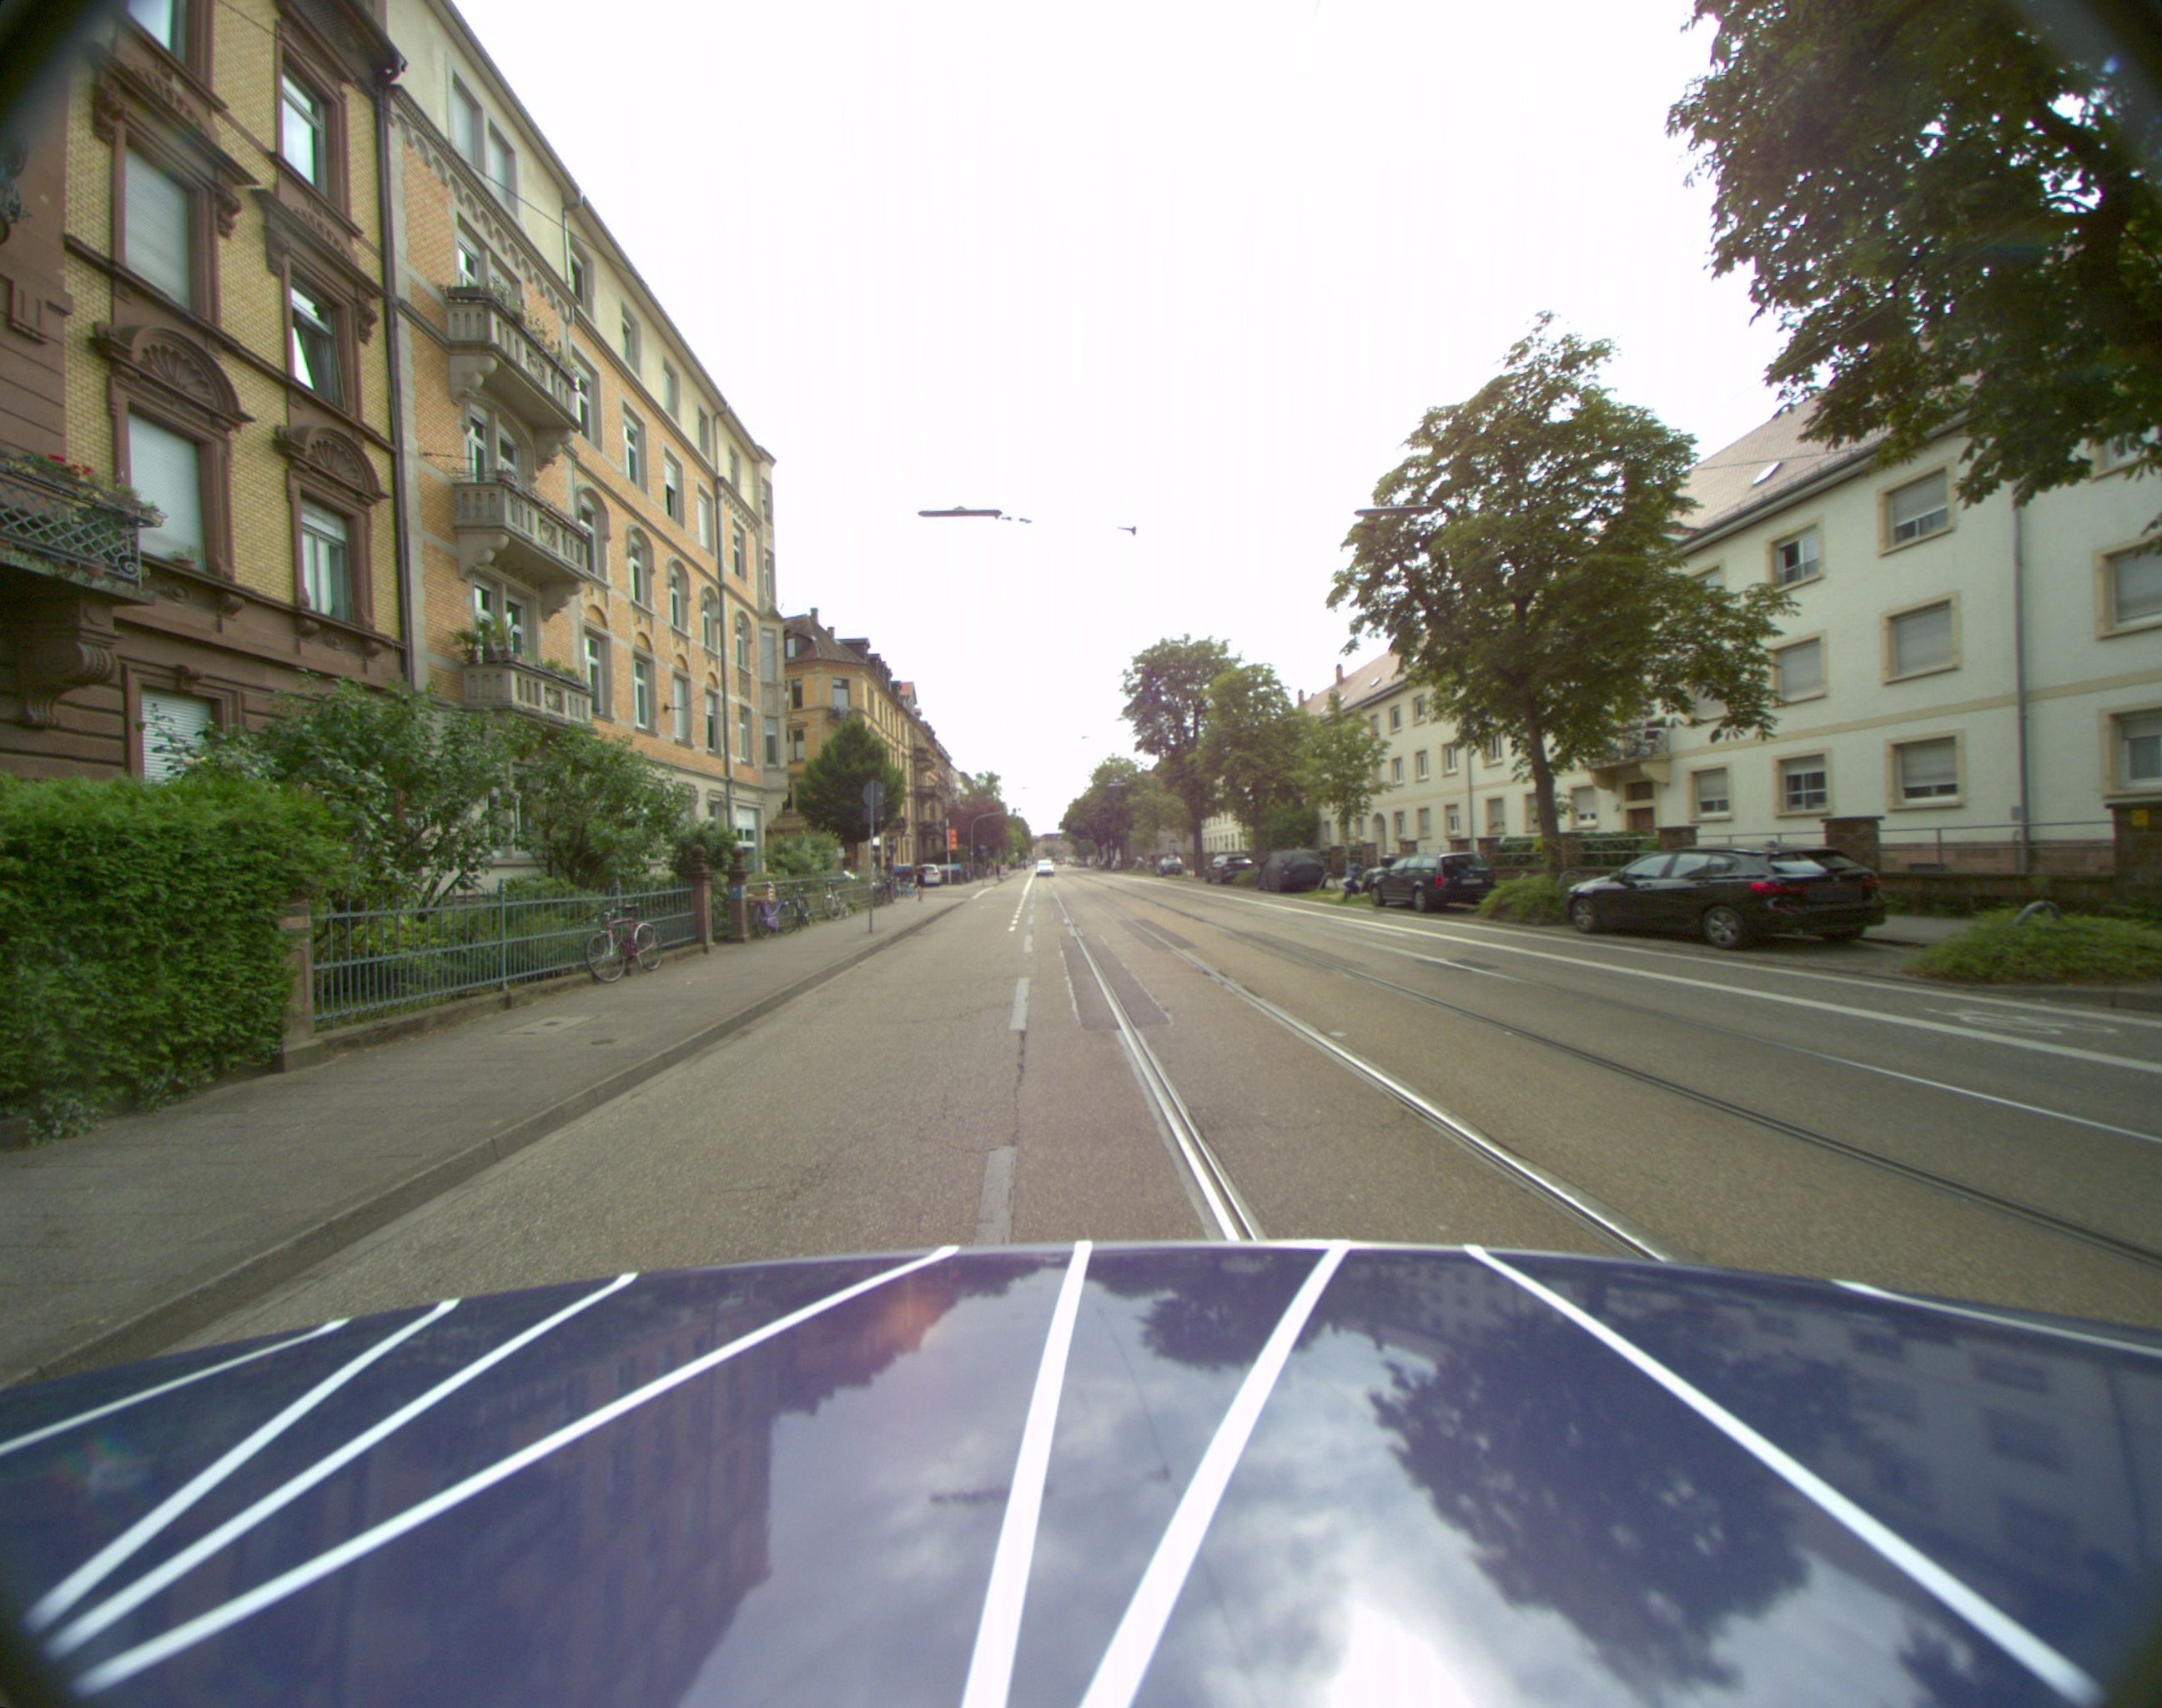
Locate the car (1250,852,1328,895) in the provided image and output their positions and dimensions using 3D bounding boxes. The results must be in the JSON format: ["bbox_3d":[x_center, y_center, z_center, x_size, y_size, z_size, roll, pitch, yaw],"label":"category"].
[{"bbox_3d":[8.443,0.753,31.232,1.790,1.602,4.299,-2,0,-3],"label":"car"}]

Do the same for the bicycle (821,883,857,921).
[{"bbox_3d":[-6.889,1.343,21.717,0.580,0.977,1.671,2,0,-4],"label":"bicycle"}]

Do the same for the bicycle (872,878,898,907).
[{"bbox_3d":[-7.104,1.381,27.603,0.580,0.977,1.671,2,0,-4],"label":"bicycle"}]

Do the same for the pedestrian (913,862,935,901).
[{"bbox_3d":[-6.606,1.140,31.961,0.732,1.614,0.835,-2,0,-3],"label":"pedestrian"}]

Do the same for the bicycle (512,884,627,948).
[{"bbox_3d":[-9.637,1.162,14.353,1.671,1.105,0.611,-2,0,-5],"label":"bicycle"}]

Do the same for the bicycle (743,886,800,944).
[{"bbox_3d":[-6.534,1.263,16.120,0.580,1.105,1.671,2,0,-4],"label":"bicycle"}]

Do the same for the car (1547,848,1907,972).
[{"bbox_3d":[9.542,0.719,11.803,1.701,1.415,4.299,-5,0,-3],"label":"car"}]

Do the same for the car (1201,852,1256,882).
[{"bbox_3d":[7.822,0.662,40.590,1.701,1.462,4.298,-2,0,-5],"label":"car"}]

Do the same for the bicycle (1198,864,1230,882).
[{"bbox_3d":[7.900,1.110,45.191,1.672,0.965,0.672,-2,0,-12],"label":"bicycle"}]

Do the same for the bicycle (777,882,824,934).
[{"bbox_3d":[-6.646,1.253,18.090,0.580,1.105,1.671,2,0,-4],"label":"bicycle"}]

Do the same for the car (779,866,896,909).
[{"bbox_3d":[-10.078,1.367,31.691,4.297,1.498,1.702,-3,0,-2],"label":"car"}]

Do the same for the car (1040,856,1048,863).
[{"bbox_3d":[-10.703,1.544,217.365,1.947,1.675,4.000,-2,0,1],"label":"car"}]

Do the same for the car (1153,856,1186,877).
[{"bbox_3d":[6.893,0.930,59.638,1.701,1.462,4.298,-3,0,-5],"label":"car"}]

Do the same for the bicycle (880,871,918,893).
[{"bbox_3d":[-9.645,1.483,40.215,1.890,1.121,0.533,-2,0,14],"label":"bicycle"}]

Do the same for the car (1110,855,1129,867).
[{"bbox_3d":[4.918,0.890,97.215,1.732,1.462,4.298,-2,0,-5],"label":"car"}]

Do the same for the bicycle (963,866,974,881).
[{"bbox_3d":[-8.953,1.522,60.398,0.630,1.106,1.874,-2,0,-2],"label":"bicycle"}]

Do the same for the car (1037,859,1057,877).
[{"bbox_3d":[-3.549,1.403,79.580,1.876,1.670,5.130,-2,0,-1],"label":"car"}]

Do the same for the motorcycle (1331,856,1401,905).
[{"bbox_3d":[8.883,0.822,23.704,1.872,1.253,0.591,-8,1,-7],"label":"motorcycle"}]

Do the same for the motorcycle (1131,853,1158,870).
[{"bbox_3d":[6.278,0.703,75.368,2.312,1.382,0.838,-7,1,29],"label":"motorcycle"}]

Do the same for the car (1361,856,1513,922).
[{"bbox_3d":[9.051,0.812,19.773,1.701,1.415,4.299,-4,0,-3],"label":"car"}]

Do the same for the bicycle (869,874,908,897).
[{"bbox_3d":[-9.914,1.608,39.143,1.890,1.121,0.533,-2,0,19],"label":"bicycle"}]

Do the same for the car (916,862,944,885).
[{"bbox_3d":[-10.780,1.354,54.422,1.757,1.516,3.997,-2,0,-8],"label":"car"}]

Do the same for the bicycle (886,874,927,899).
[{"bbox_3d":[-8.484,1.546,36.957,0.629,1.106,1.878,-2,0,40],"label":"bicycle"}]

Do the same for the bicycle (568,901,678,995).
[{"bbox_3d":[-6.426,1.273,10.762,0.580,1.105,1.671,-2,0,-4],"label":"bicycle"}]
